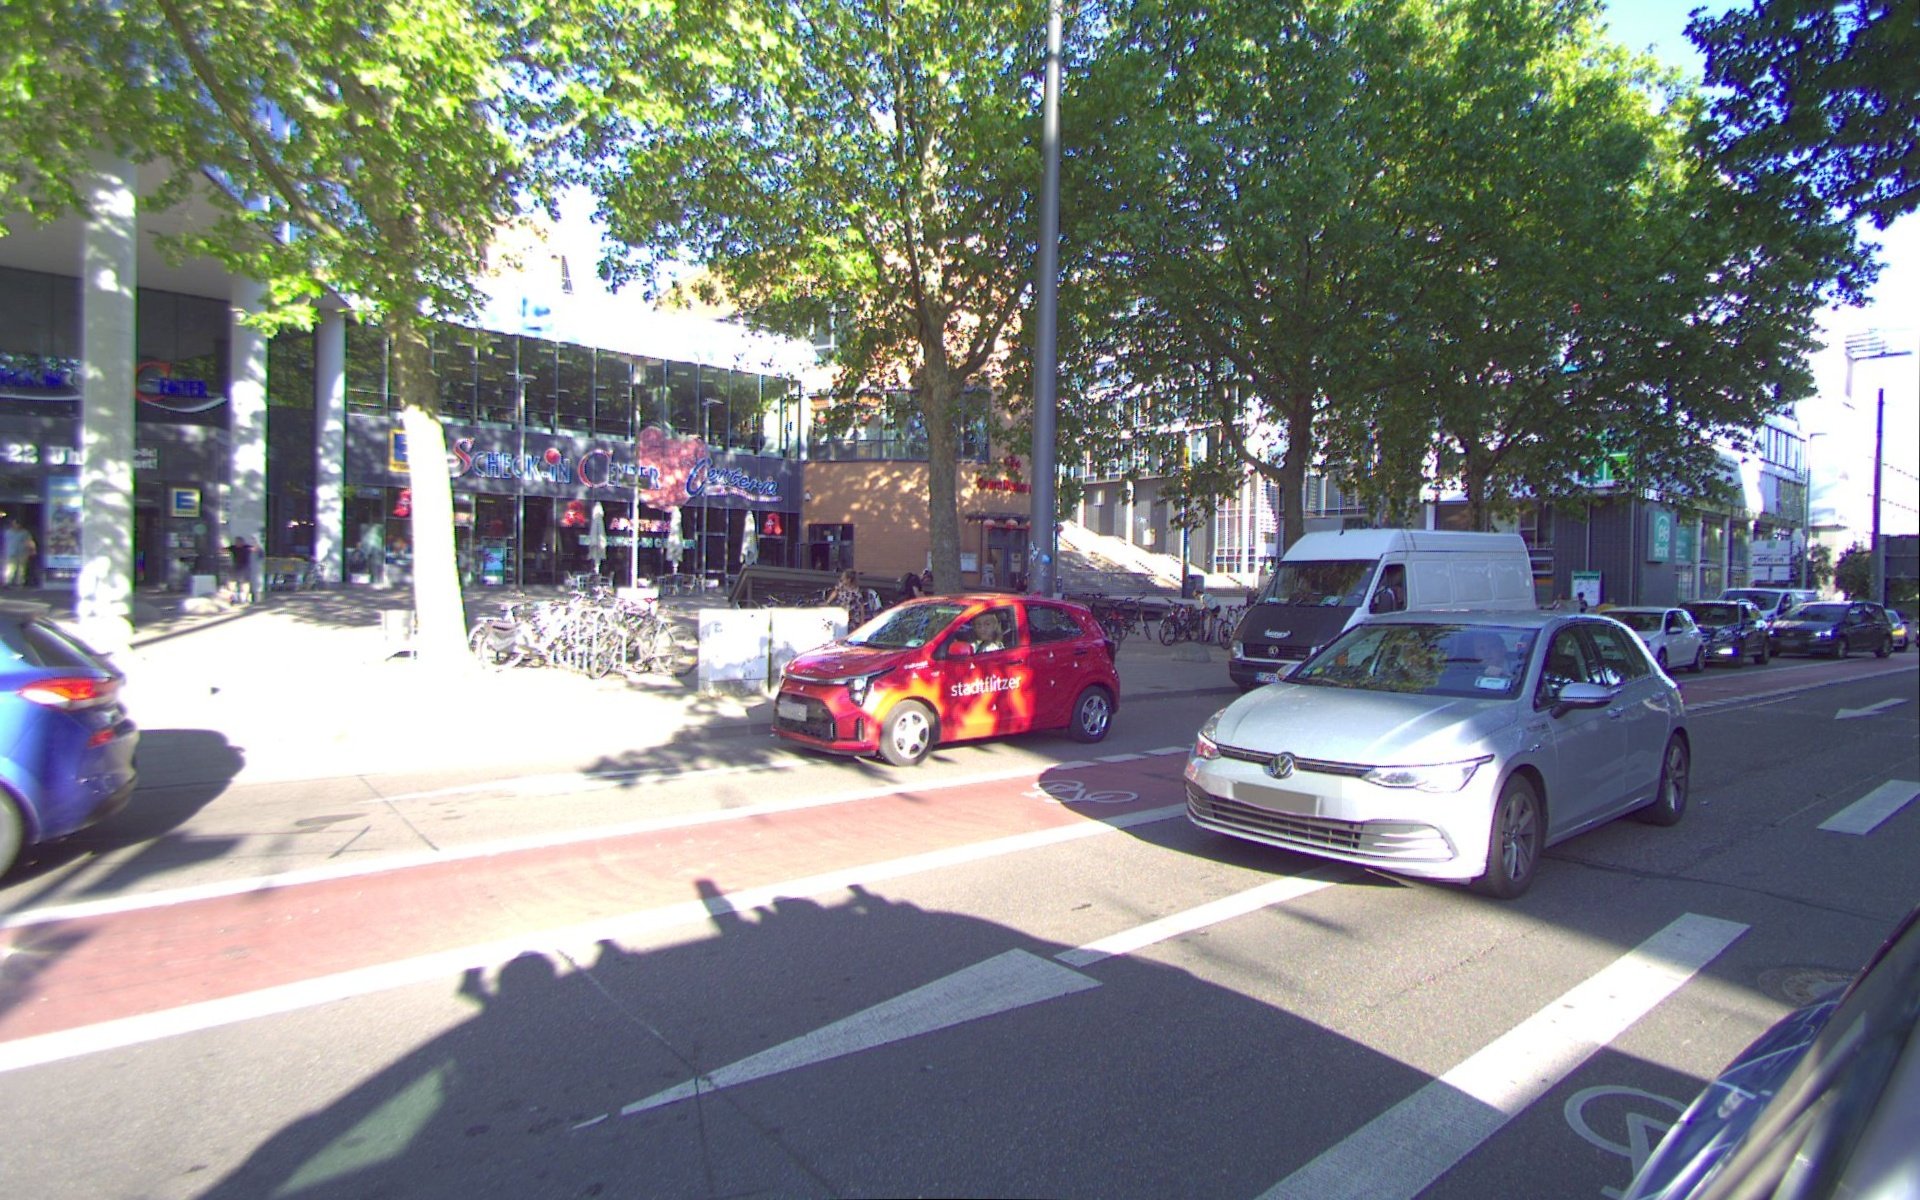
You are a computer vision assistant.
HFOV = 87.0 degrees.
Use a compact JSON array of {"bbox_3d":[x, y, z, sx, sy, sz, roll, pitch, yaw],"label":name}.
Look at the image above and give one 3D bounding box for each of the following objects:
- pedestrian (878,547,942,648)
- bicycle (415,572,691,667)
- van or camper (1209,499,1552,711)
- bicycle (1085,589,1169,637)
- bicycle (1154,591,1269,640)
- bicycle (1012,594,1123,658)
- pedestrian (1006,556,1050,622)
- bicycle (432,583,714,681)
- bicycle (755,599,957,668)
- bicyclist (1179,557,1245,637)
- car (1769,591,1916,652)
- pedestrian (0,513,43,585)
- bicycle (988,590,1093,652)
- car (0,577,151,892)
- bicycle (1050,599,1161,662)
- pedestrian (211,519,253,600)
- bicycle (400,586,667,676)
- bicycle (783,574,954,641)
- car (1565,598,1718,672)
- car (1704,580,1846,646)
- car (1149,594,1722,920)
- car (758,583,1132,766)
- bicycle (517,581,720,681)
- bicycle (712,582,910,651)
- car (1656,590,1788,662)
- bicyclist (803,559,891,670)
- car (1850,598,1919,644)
[{"bbox_3d":[-1.028,-0.067,21.123,0.922,2.039,1.085,2,1,24],"label":"pedestrian"},{"bbox_3d":[-6.019,0.338,15.242,3.743,1.236,0.729,4,-2,-35],"label":"bicycle"},{"bbox_3d":[6.615,0.031,15.438,6.380,2.647,2.005,0,1,-39],"label":"van or camper"},{"bbox_3d":[4.506,0.316,27.116,2.653,1.215,0.698,-1,1,-41],"label":"bicycle"},{"bbox_3d":[6.583,0.375,26.768,1.124,1.097,3.342,0,2,-23],"label":"bicycle"},{"bbox_3d":[2.146,0.483,19.936,2.355,1.177,0.750,-1,0,-40],"label":"bicycle"},{"bbox_3d":[2.142,-0.338,31.996,0.995,2.039,1.015,0,0,-29],"label":"pedestrian"},{"bbox_3d":[-5.513,0.396,14.696,3.744,1.236,0.758,-2,1,-35],"label":"bicycle"},{"bbox_3d":[-1.655,0.500,16.769,3.352,1.014,1.050,-1,0,-41],"label":"bicycle"},{"bbox_3d":[6.630,-0.097,26.664,1.132,2.039,1.301,0,1,-24],"label":"bicyclist"},{"bbox_3d":[25.293,0.577,28.989,4.300,1.656,1.714,0,0,-27],"label":"car"},{"bbox_3d":[-25.614,-1.378,27.394,0.857,1.912,0.813,1,2,2],"label":"pedestrian"},{"bbox_3d":[1.654,0.399,20.543,2.263,1.177,0.671,-1,0,-38],"label":"bicycle"},{"bbox_3d":[-6.204,0.620,4.370,4.140,1.478,1.750,0,0,-42],"label":"car"},{"bbox_3d":[2.739,0.532,18.866,2.295,1.073,0.682,-1,1,-39],"label":"bicycle"},{"bbox_3d":[-18.776,-1.036,26.127,0.843,2.039,1.024,0,0,-34],"label":"pedestrian"},{"bbox_3d":[-6.557,0.422,15.805,3.746,1.236,0.793,-2,1,-37],"label":"bicycle"},{"bbox_3d":[-1.372,0.095,15.670,2.591,0.960,0.924,-1,0,-41],"label":"bicycle"},{"bbox_3d":[14.735,0.692,21.805,3.914,1.446,1.639,0,0,-38],"label":"car"},{"bbox_3d":[26.393,0.378,32.697,5.804,1.989,1.935,0,0,-34],"label":"car"},{"bbox_3d":[3.178,0.722,6.431,3.927,1.436,1.752,1,0,-39],"label":"car"},{"bbox_3d":[-0.038,0.592,9.918,3.533,1.478,1.493,0,0,-40],"label":"car"},{"bbox_3d":[-4.614,0.373,13.811,2.504,1.236,0.758,-2,1,-35],"label":"bicycle"},{"bbox_3d":[-2.521,0.243,17.571,3.352,1.013,1.051,-1,6,-41],"label":"bicycle"},{"bbox_3d":[19.068,0.590,25.254,4.175,1.656,1.768,0,0,-40],"label":"car"},{"bbox_3d":[-1.742,0.203,15.597,1.005,1.641,0.902,0,0,-41],"label":"bicyclist"},{"bbox_3d":[32.713,0.692,35.369,4.120,1.508,1.835,0,0,-40],"label":"car"}]
